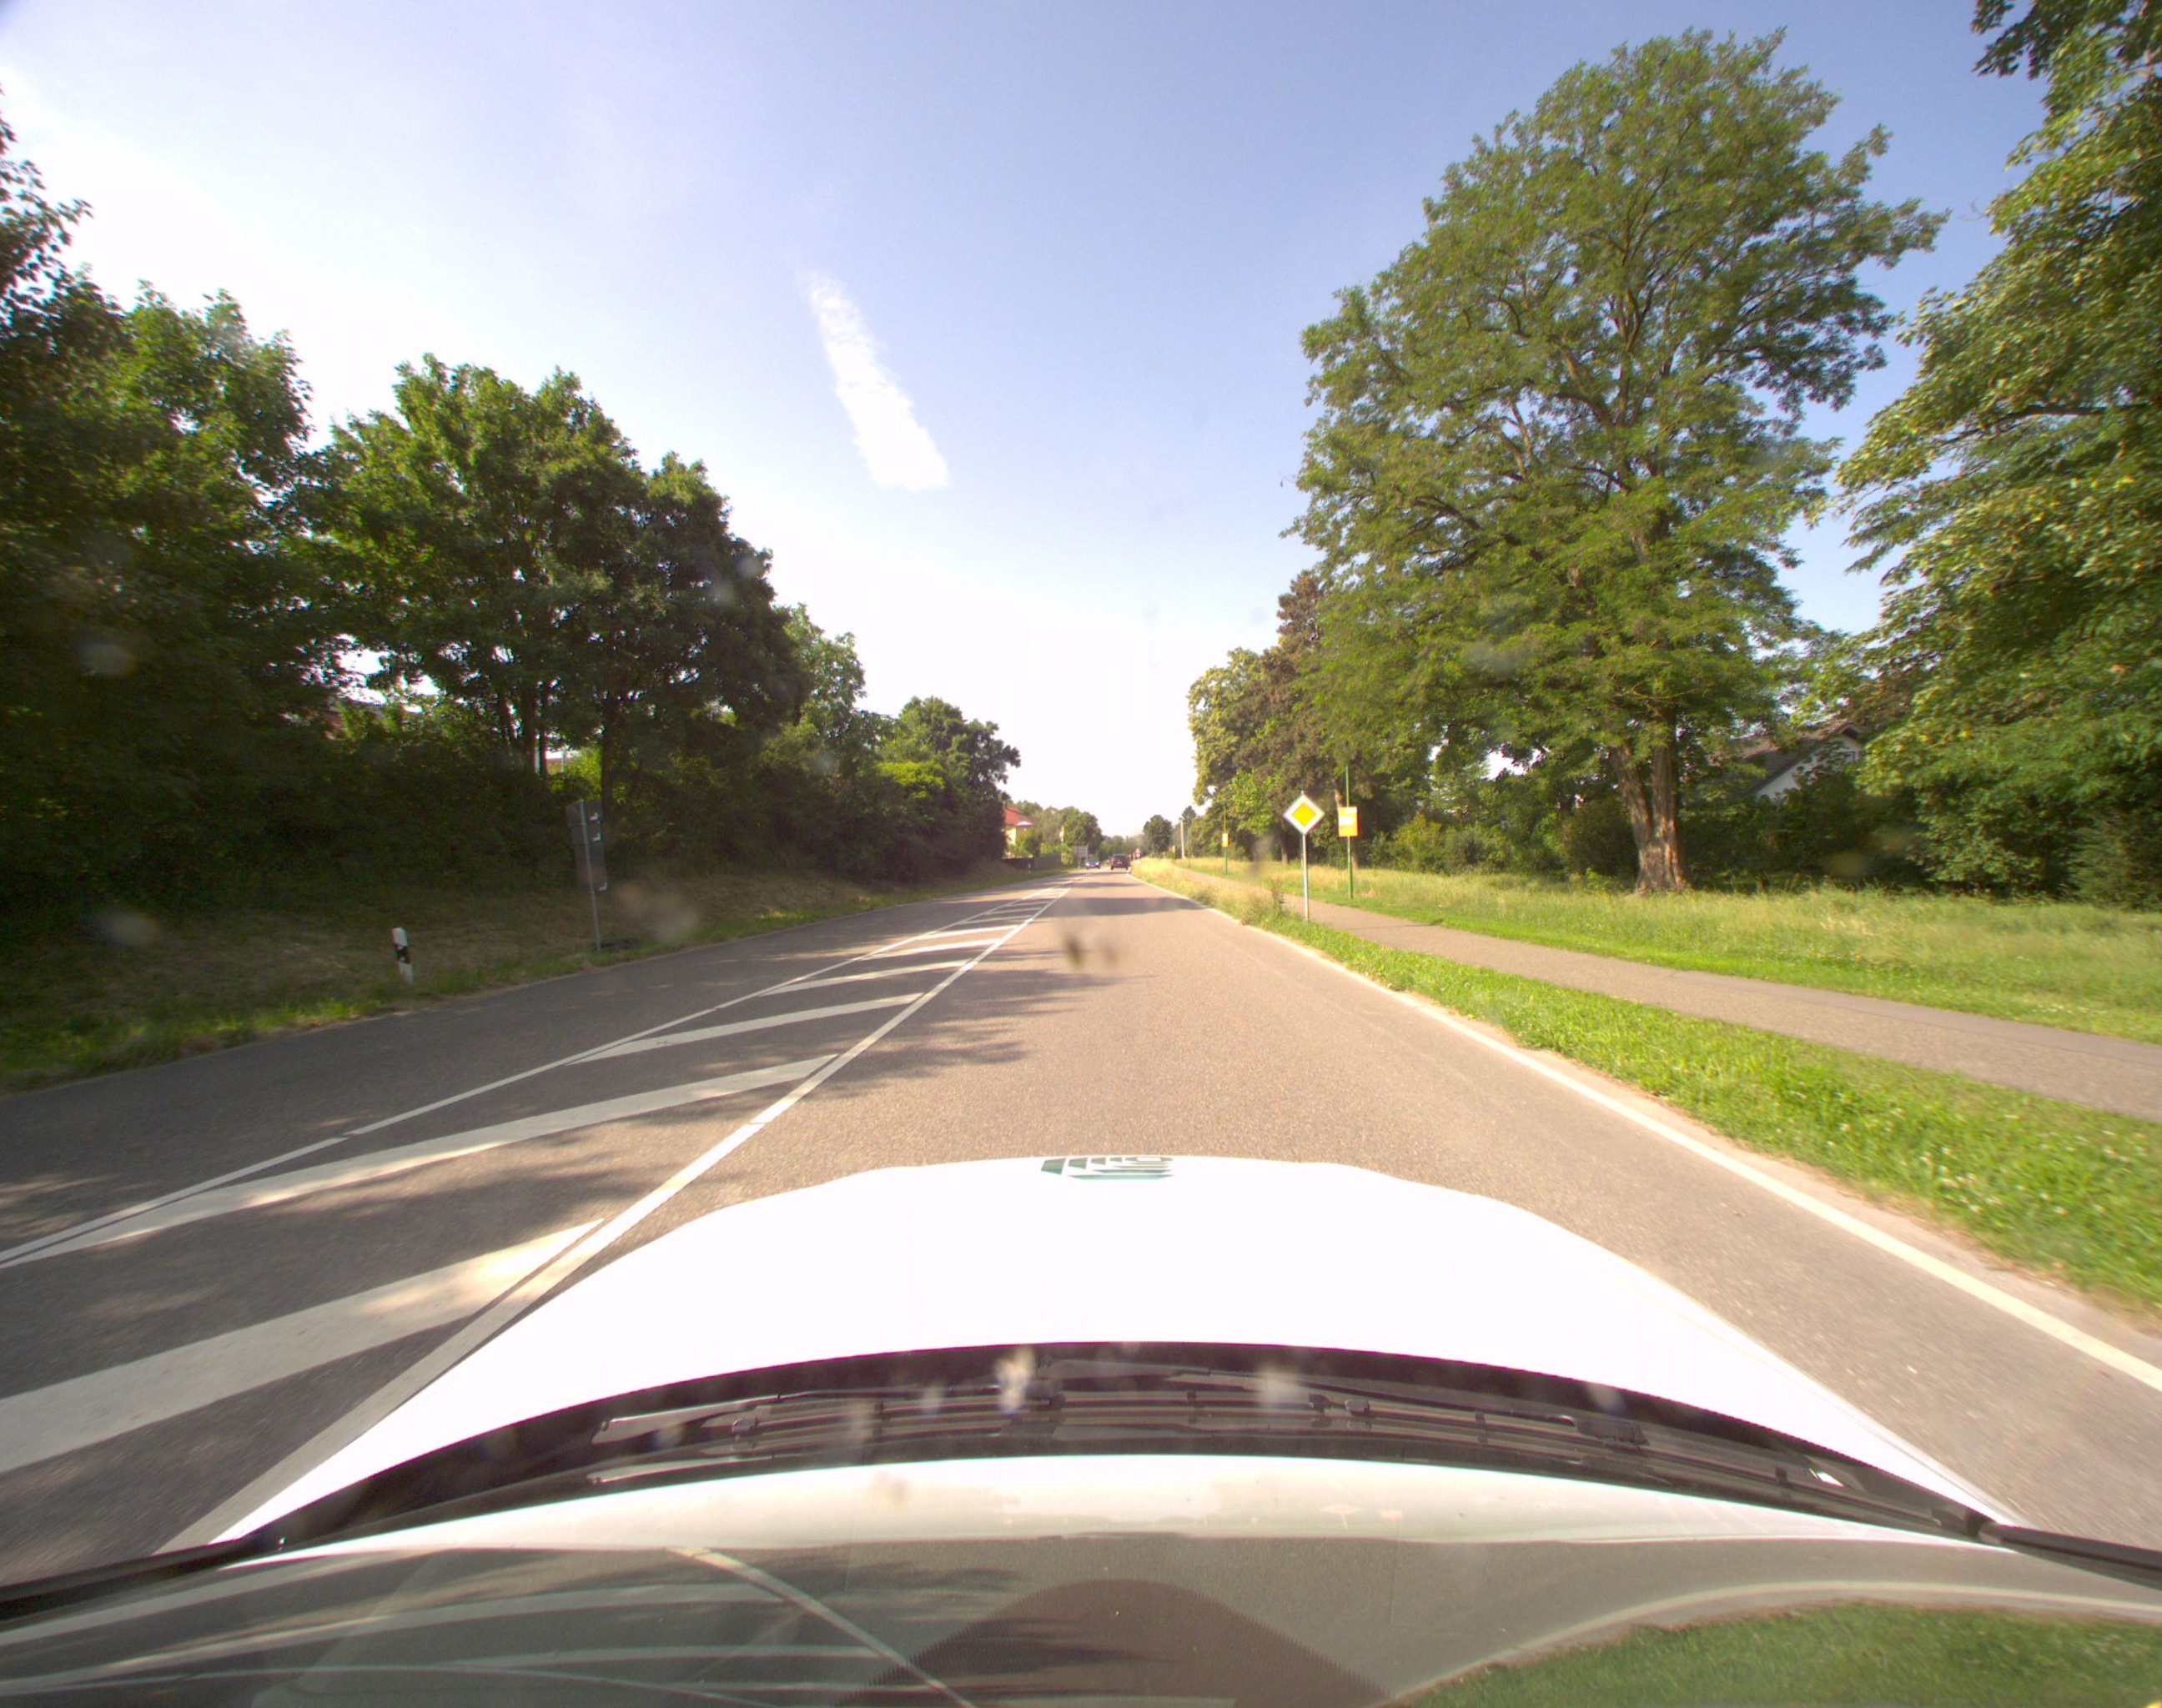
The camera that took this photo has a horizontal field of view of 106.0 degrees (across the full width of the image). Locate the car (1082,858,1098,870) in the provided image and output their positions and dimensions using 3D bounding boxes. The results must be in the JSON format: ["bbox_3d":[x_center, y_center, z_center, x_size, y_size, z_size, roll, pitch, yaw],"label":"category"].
[{"bbox_3d":[1.233,1.381,110.326,1.862,1.423,4.580,-4,0,3],"label":"car"}]

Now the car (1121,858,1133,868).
[{"bbox_3d":[7.108,1.344,126.793,1.730,1.516,3.915,-2,0,1],"label":"car"}]

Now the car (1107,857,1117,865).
[{"bbox_3d":[7.083,1.621,185.426,1.933,1.817,4.241,-4,-1,0],"label":"car"}]

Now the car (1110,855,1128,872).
[{"bbox_3d":[4.215,1.041,90.550,1.918,1.771,4.001,-2,0,1],"label":"car"}]
